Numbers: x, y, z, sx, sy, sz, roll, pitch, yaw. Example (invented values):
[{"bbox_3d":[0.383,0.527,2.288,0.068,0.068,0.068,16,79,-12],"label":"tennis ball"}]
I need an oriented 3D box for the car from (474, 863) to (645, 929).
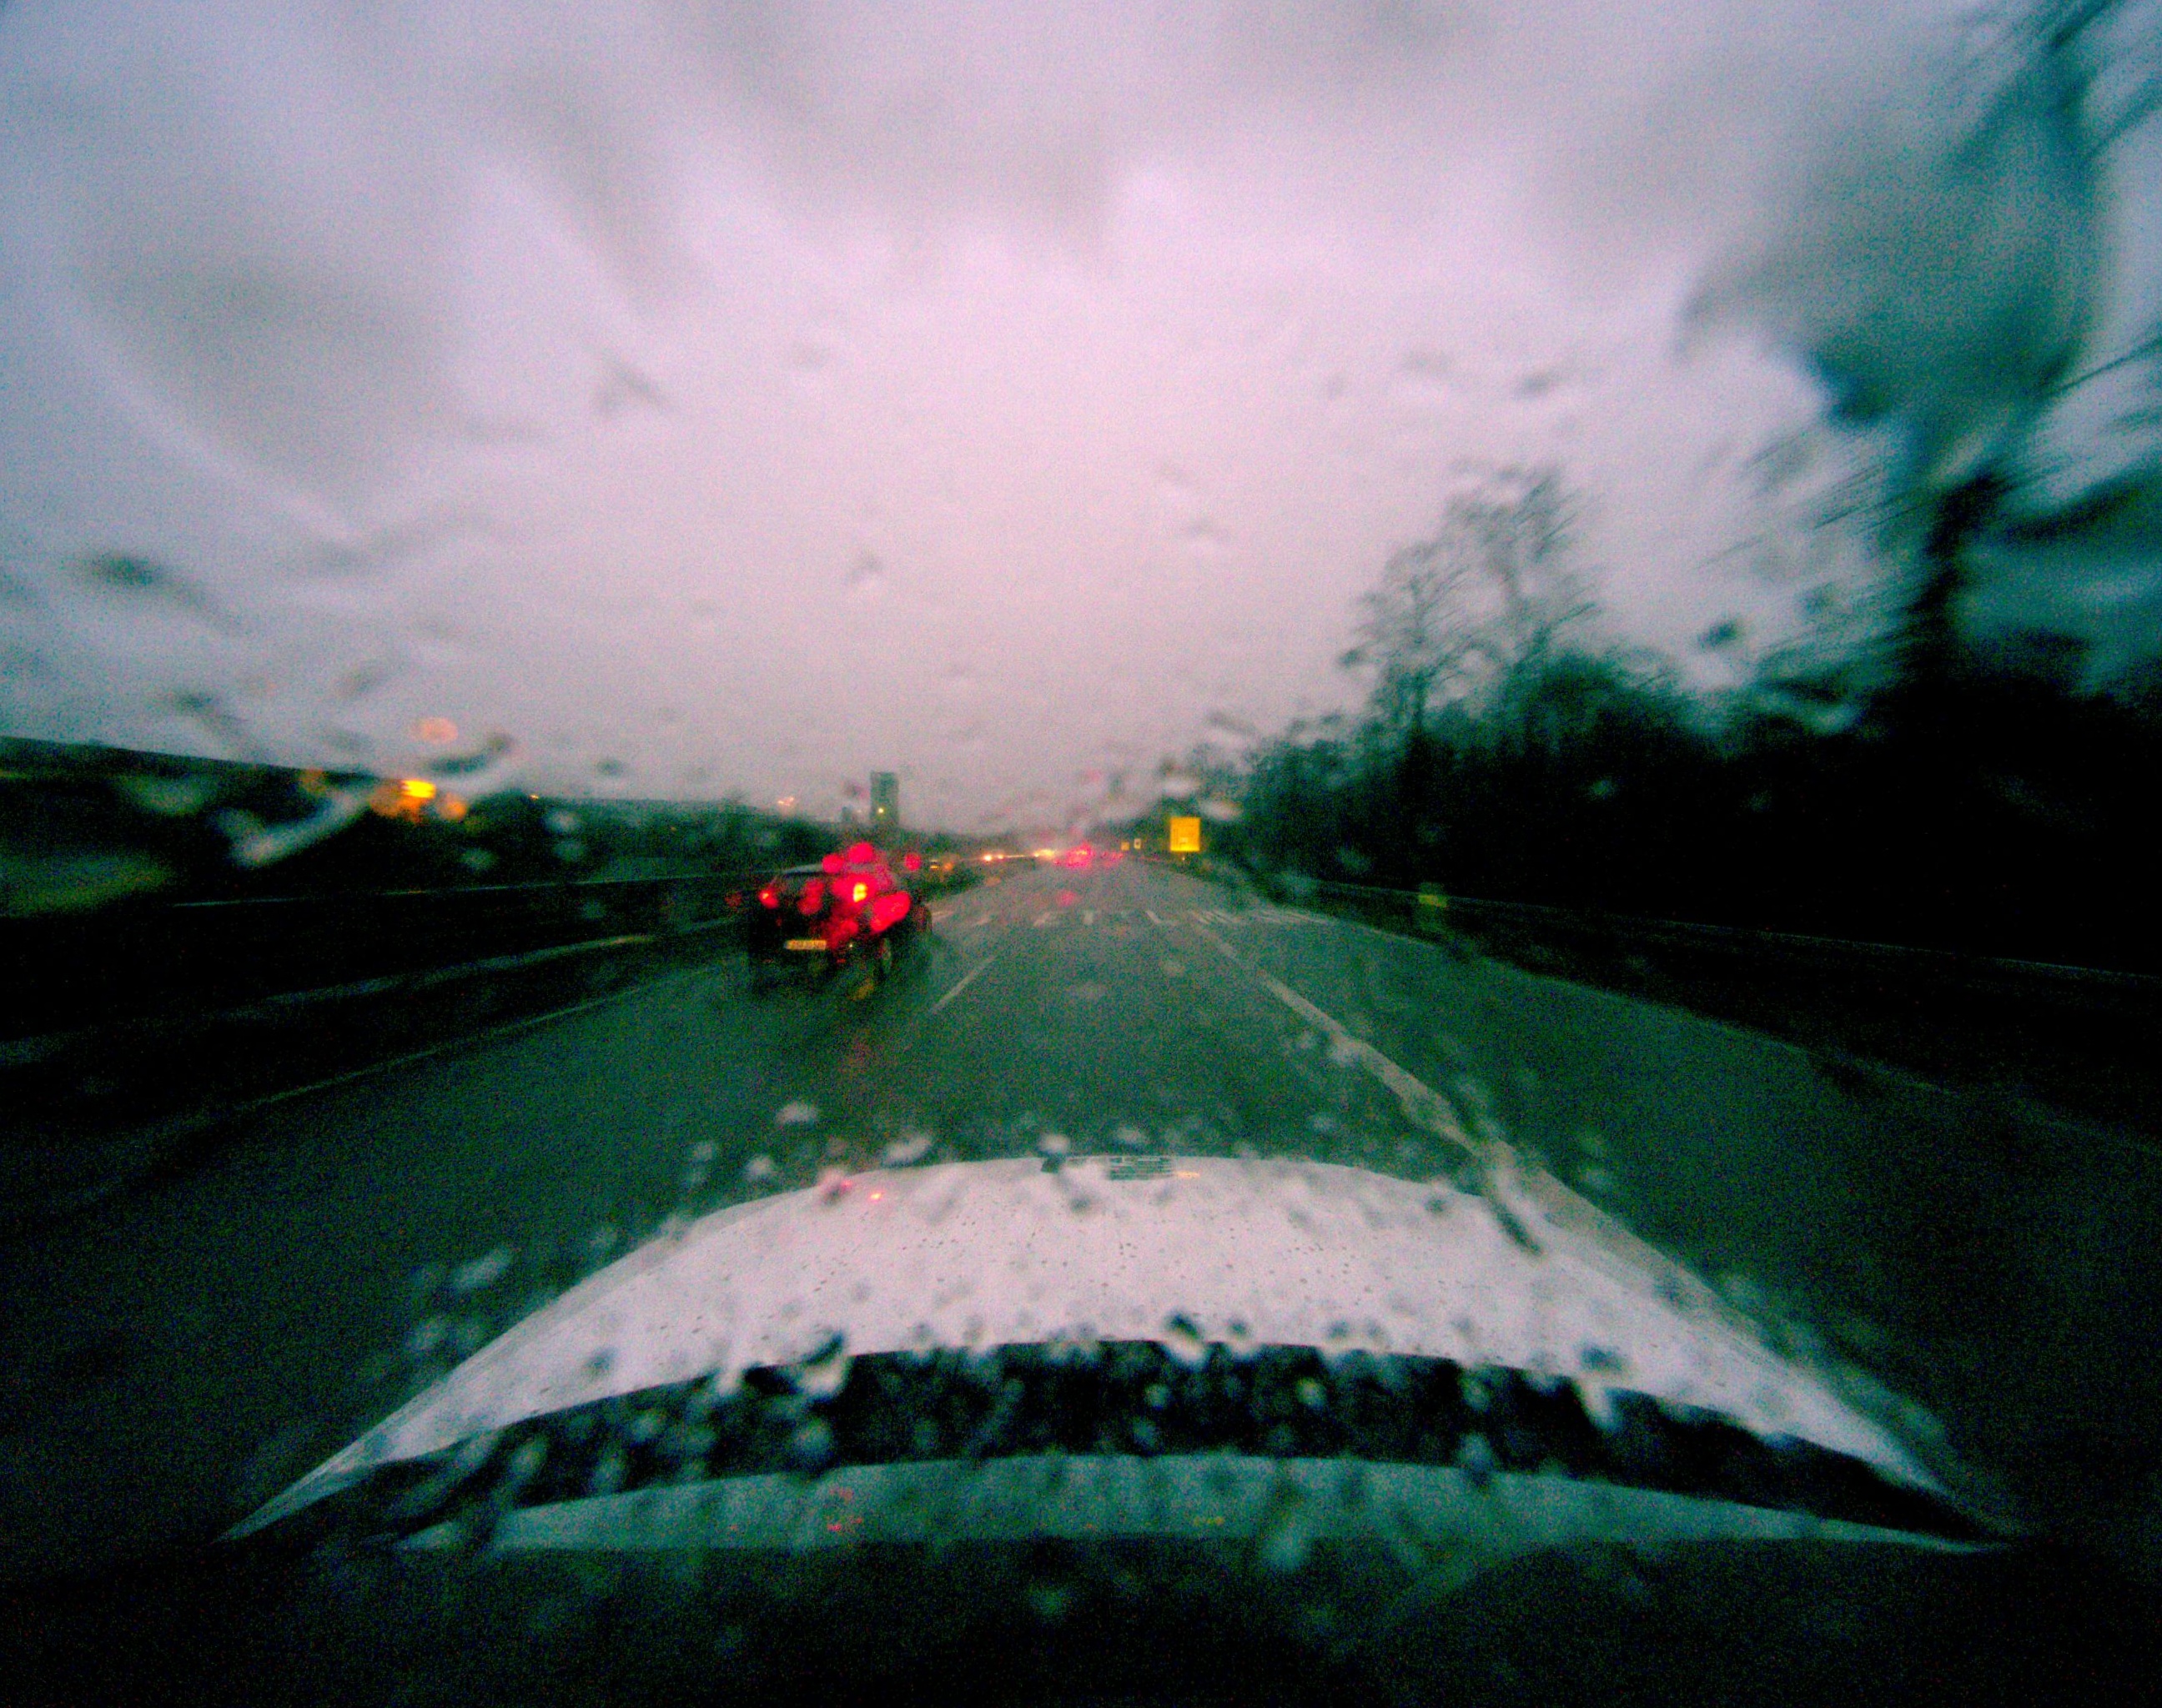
[{"bbox_3d":[-13.300,0.999,21.088,1.730,1.508,4.002,0,0,2],"label":"car"}]

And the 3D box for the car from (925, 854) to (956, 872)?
[{"bbox_3d":[-11.699,0.737,67.964,1.730,1.508,4.002,0,0,2],"label":"car"}]

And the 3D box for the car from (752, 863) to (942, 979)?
[{"bbox_3d":[-3.258,0.856,12.150,1.620,1.392,4.000,1,0,0],"label":"car"}]

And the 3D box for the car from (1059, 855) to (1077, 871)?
[{"bbox_3d":[-1.147,0.808,73.183,1.411,1.317,3.084,1,0,1],"label":"car"}]
